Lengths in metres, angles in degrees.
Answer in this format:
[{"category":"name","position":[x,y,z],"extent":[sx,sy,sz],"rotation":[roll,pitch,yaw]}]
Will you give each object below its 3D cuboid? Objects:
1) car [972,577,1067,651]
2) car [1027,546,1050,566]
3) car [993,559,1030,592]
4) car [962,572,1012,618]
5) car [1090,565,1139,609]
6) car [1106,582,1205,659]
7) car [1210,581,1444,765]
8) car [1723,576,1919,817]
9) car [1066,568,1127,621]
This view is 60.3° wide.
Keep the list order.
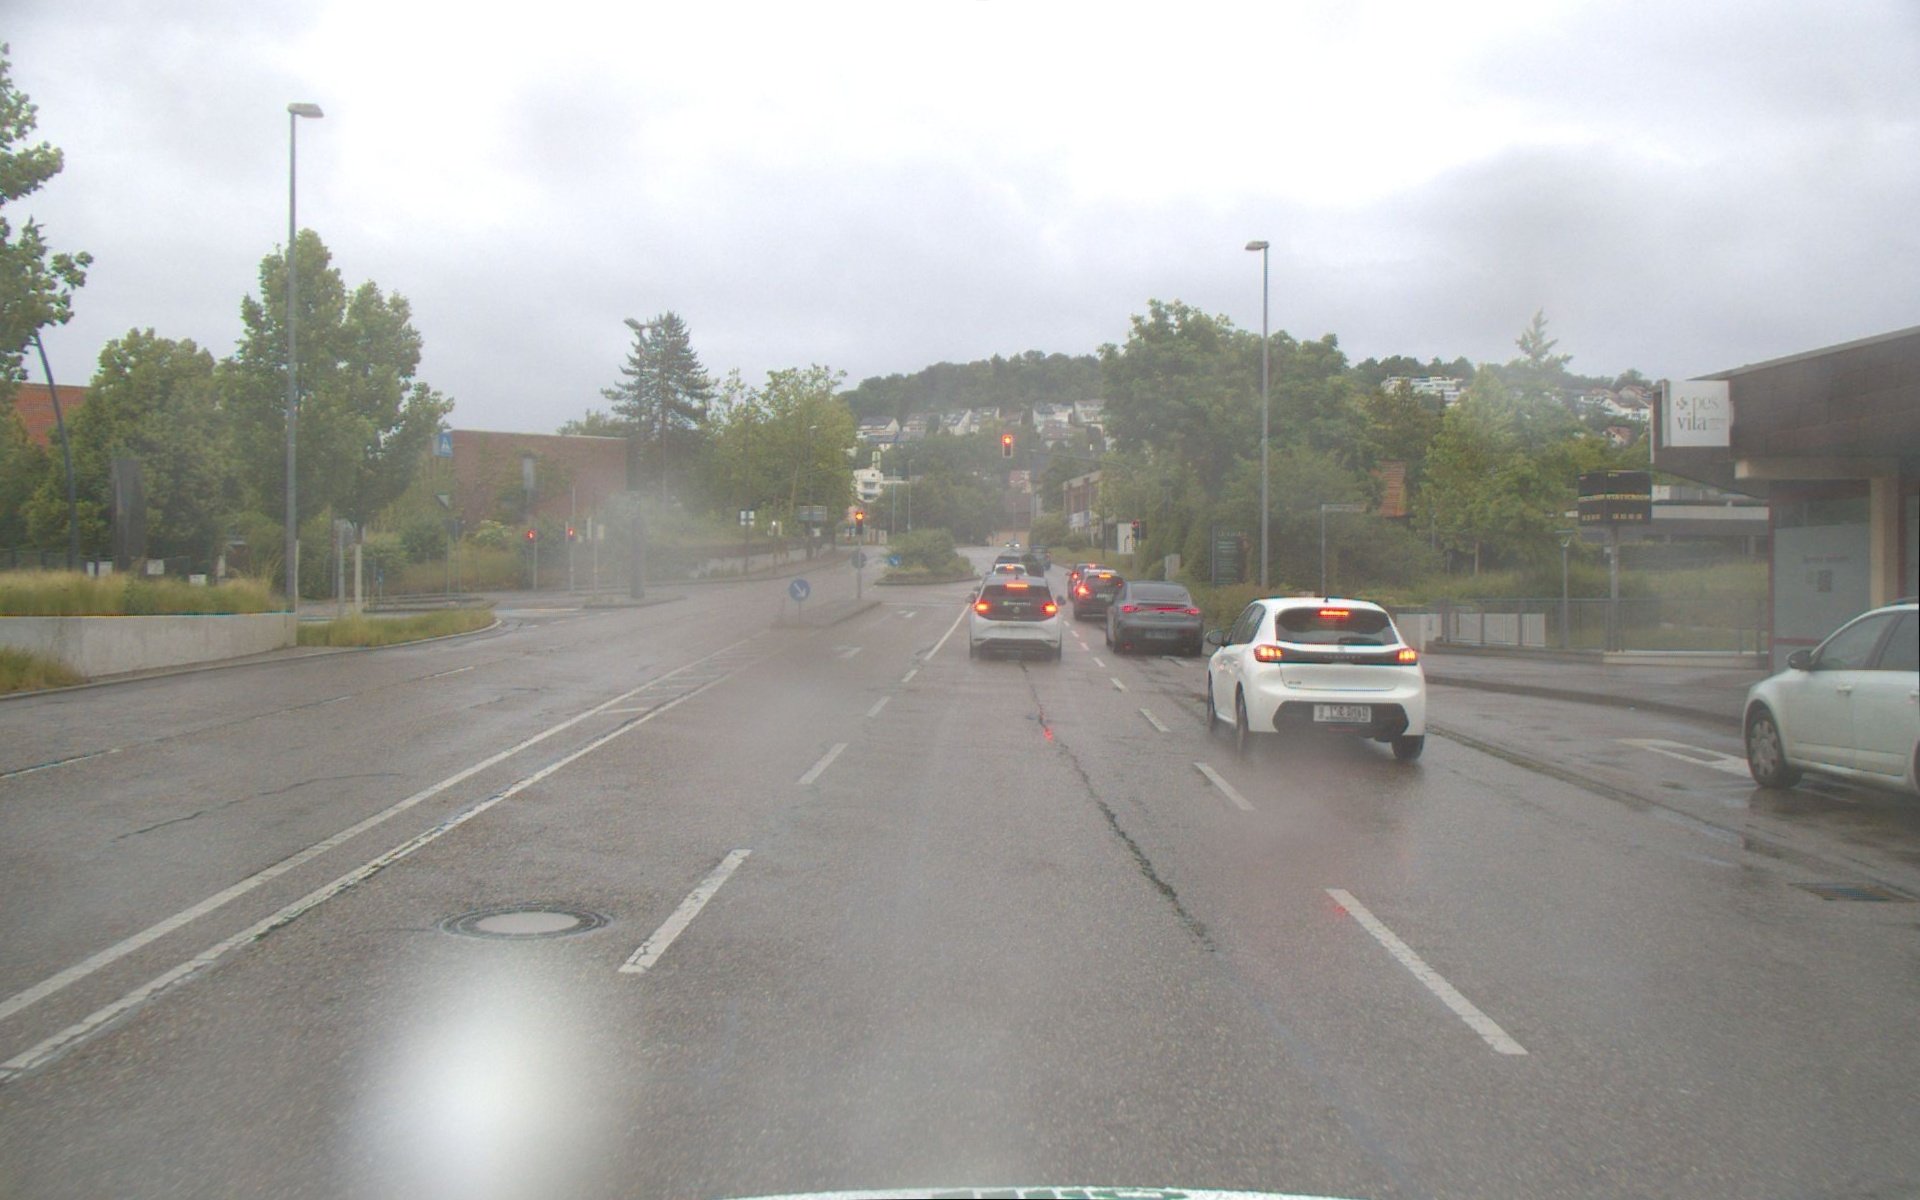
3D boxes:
[{"category":"car","position":[1.147,0.279,31.946],"extent":[1.705,1.318,3.334],"rotation":[-1,-1,2]},{"category":"car","position":[5.262,-2.939,111.179],"extent":[1.339,1.177,2.425],"rotation":[-1,-2,-1]},{"category":"car","position":[2.017,-0.937,65.257],"extent":[1.356,1.146,2.610],"rotation":[-1,-2,0]},{"category":"car","position":[0.739,-0.130,46.399],"extent":[1.189,1.176,2.268],"rotation":[-1,-2,-4]},{"category":"car","position":[5.612,-0.458,60.452],"extent":[1.532,1.422,3.958],"rotation":[-1,-2,2]},{"category":"car","position":[4.149,0.403,35.551],"extent":[1.698,1.412,3.353],"rotation":[1,2,0]},{"category":"car","position":[3.512,0.616,16.458],"extent":[1.655,1.545,3.935],"rotation":[1,1,3]},{"category":"car","position":[7.026,0.601,11.373],"extent":[1.694,1.524,4.482],"rotation":[-2,0,3]},{"category":"car","position":[4.262,-0.158,52.024],"extent":[1.614,1.511,3.365],"rotation":[-1,-2,0]}]
